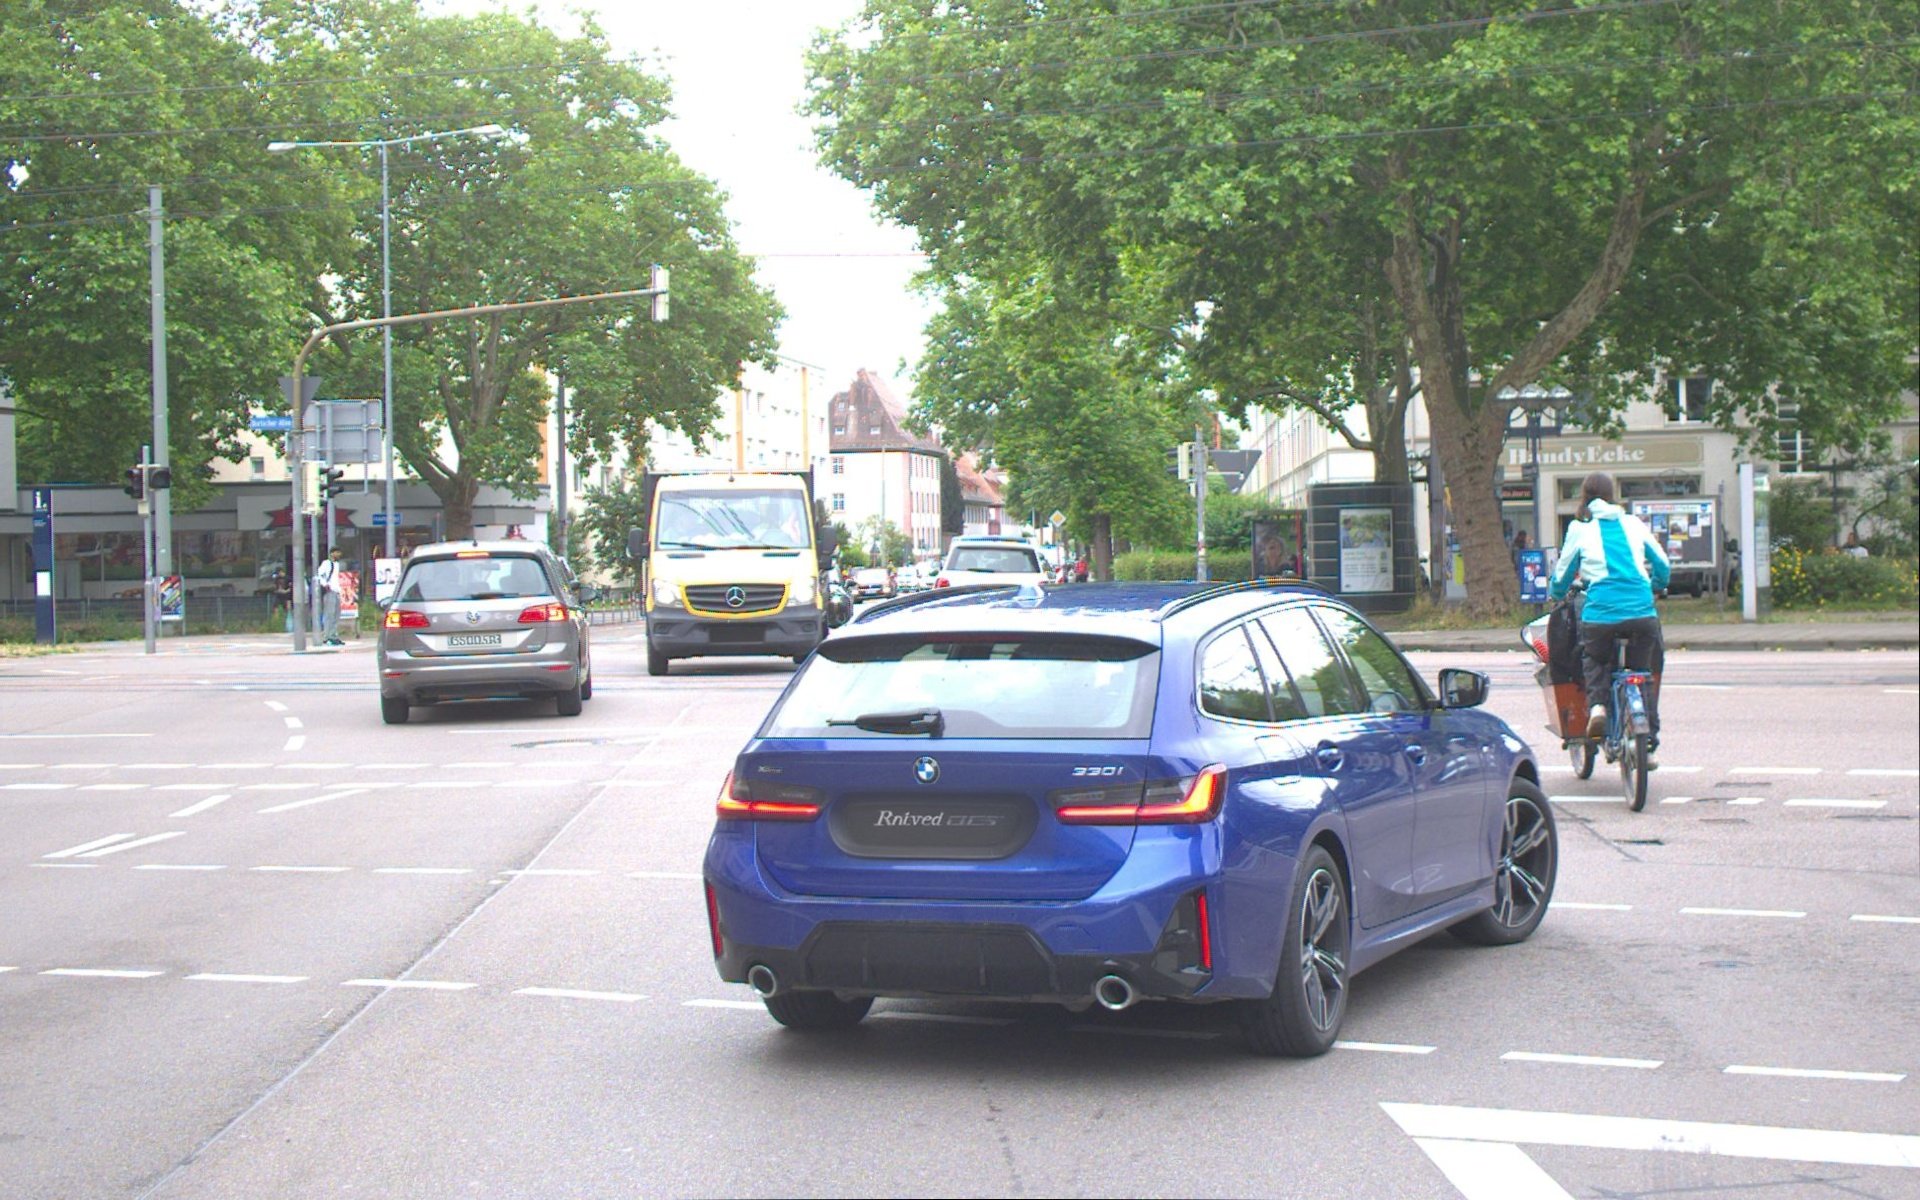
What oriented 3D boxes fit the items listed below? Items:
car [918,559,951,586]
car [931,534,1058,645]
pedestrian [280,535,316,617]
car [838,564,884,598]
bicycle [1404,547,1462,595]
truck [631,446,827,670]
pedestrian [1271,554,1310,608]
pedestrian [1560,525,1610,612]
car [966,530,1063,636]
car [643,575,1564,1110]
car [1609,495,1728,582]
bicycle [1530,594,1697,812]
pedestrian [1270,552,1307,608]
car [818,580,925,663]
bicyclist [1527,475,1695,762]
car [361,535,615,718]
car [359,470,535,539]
[{"bbox_3d":[-1.420,-1.549,191.904,1.767,1.481,4.000,-1,1,1],"label":"car"},{"bbox_3d":[0.504,-0.187,52.379,1.815,1.586,4.000,-1,1,0],"label":"car"},{"bbox_3d":[-14.626,-0.531,75.952,0.574,1.779,0.620,-1,1,8],"label":"pedestrian"},{"bbox_3d":[-4.379,-0.855,152.391,1.853,1.448,4.167,-1,1,0],"label":"car"},{"bbox_3d":[11.937,-0.743,86.714,0.779,1.164,2.330,-1,0,25],"label":"bicycle"},{"bbox_3d":[-2.782,-0.509,40.432,2.074,2.400,5.463,-2,1,-5],"label":"truck"},{"bbox_3d":[8.156,-0.463,84.927,0.853,1.310,0.762,-1,0,0],"label":"pedestrian"},{"bbox_3d":[12.645,-0.635,69.563,0.784,1.738,0.925,-1,0,-1],"label":"pedestrian"},{"bbox_3d":[1.056,-0.362,68.441,1.815,1.998,4.000,-1,1,0],"label":"car"},{"bbox_3d":[0.718,0.669,11.813,1.817,1.400,4.315,-1,1,22],"label":"car"},{"bbox_3d":[18.521,-1.605,89.734,2.177,2.193,3.995,-1,1,24],"label":"car"},{"bbox_3d":[3.595,0.537,19.055,0.494,1.094,2.139,-1,1,0],"label":"bicycle"},{"bbox_3d":[8.206,-0.503,85.798,0.817,1.367,0.762,-1,0,0],"label":"pedestrian"},{"bbox_3d":[-1.612,0.371,64.010,1.809,1.422,4.317,-1,1,0],"label":"car"},{"bbox_3d":[3.546,0.088,18.801,0.686,1.512,1.058,-1,1,0],"label":"bicyclist"},{"bbox_3d":[-4.219,0.191,31.260,1.732,1.520,4.000,-1,1,0],"label":"car"},{"bbox_3d":[-13.108,-2.433,87.821,3.986,1.700,2.000,-1,0,-28],"label":"car"}]
